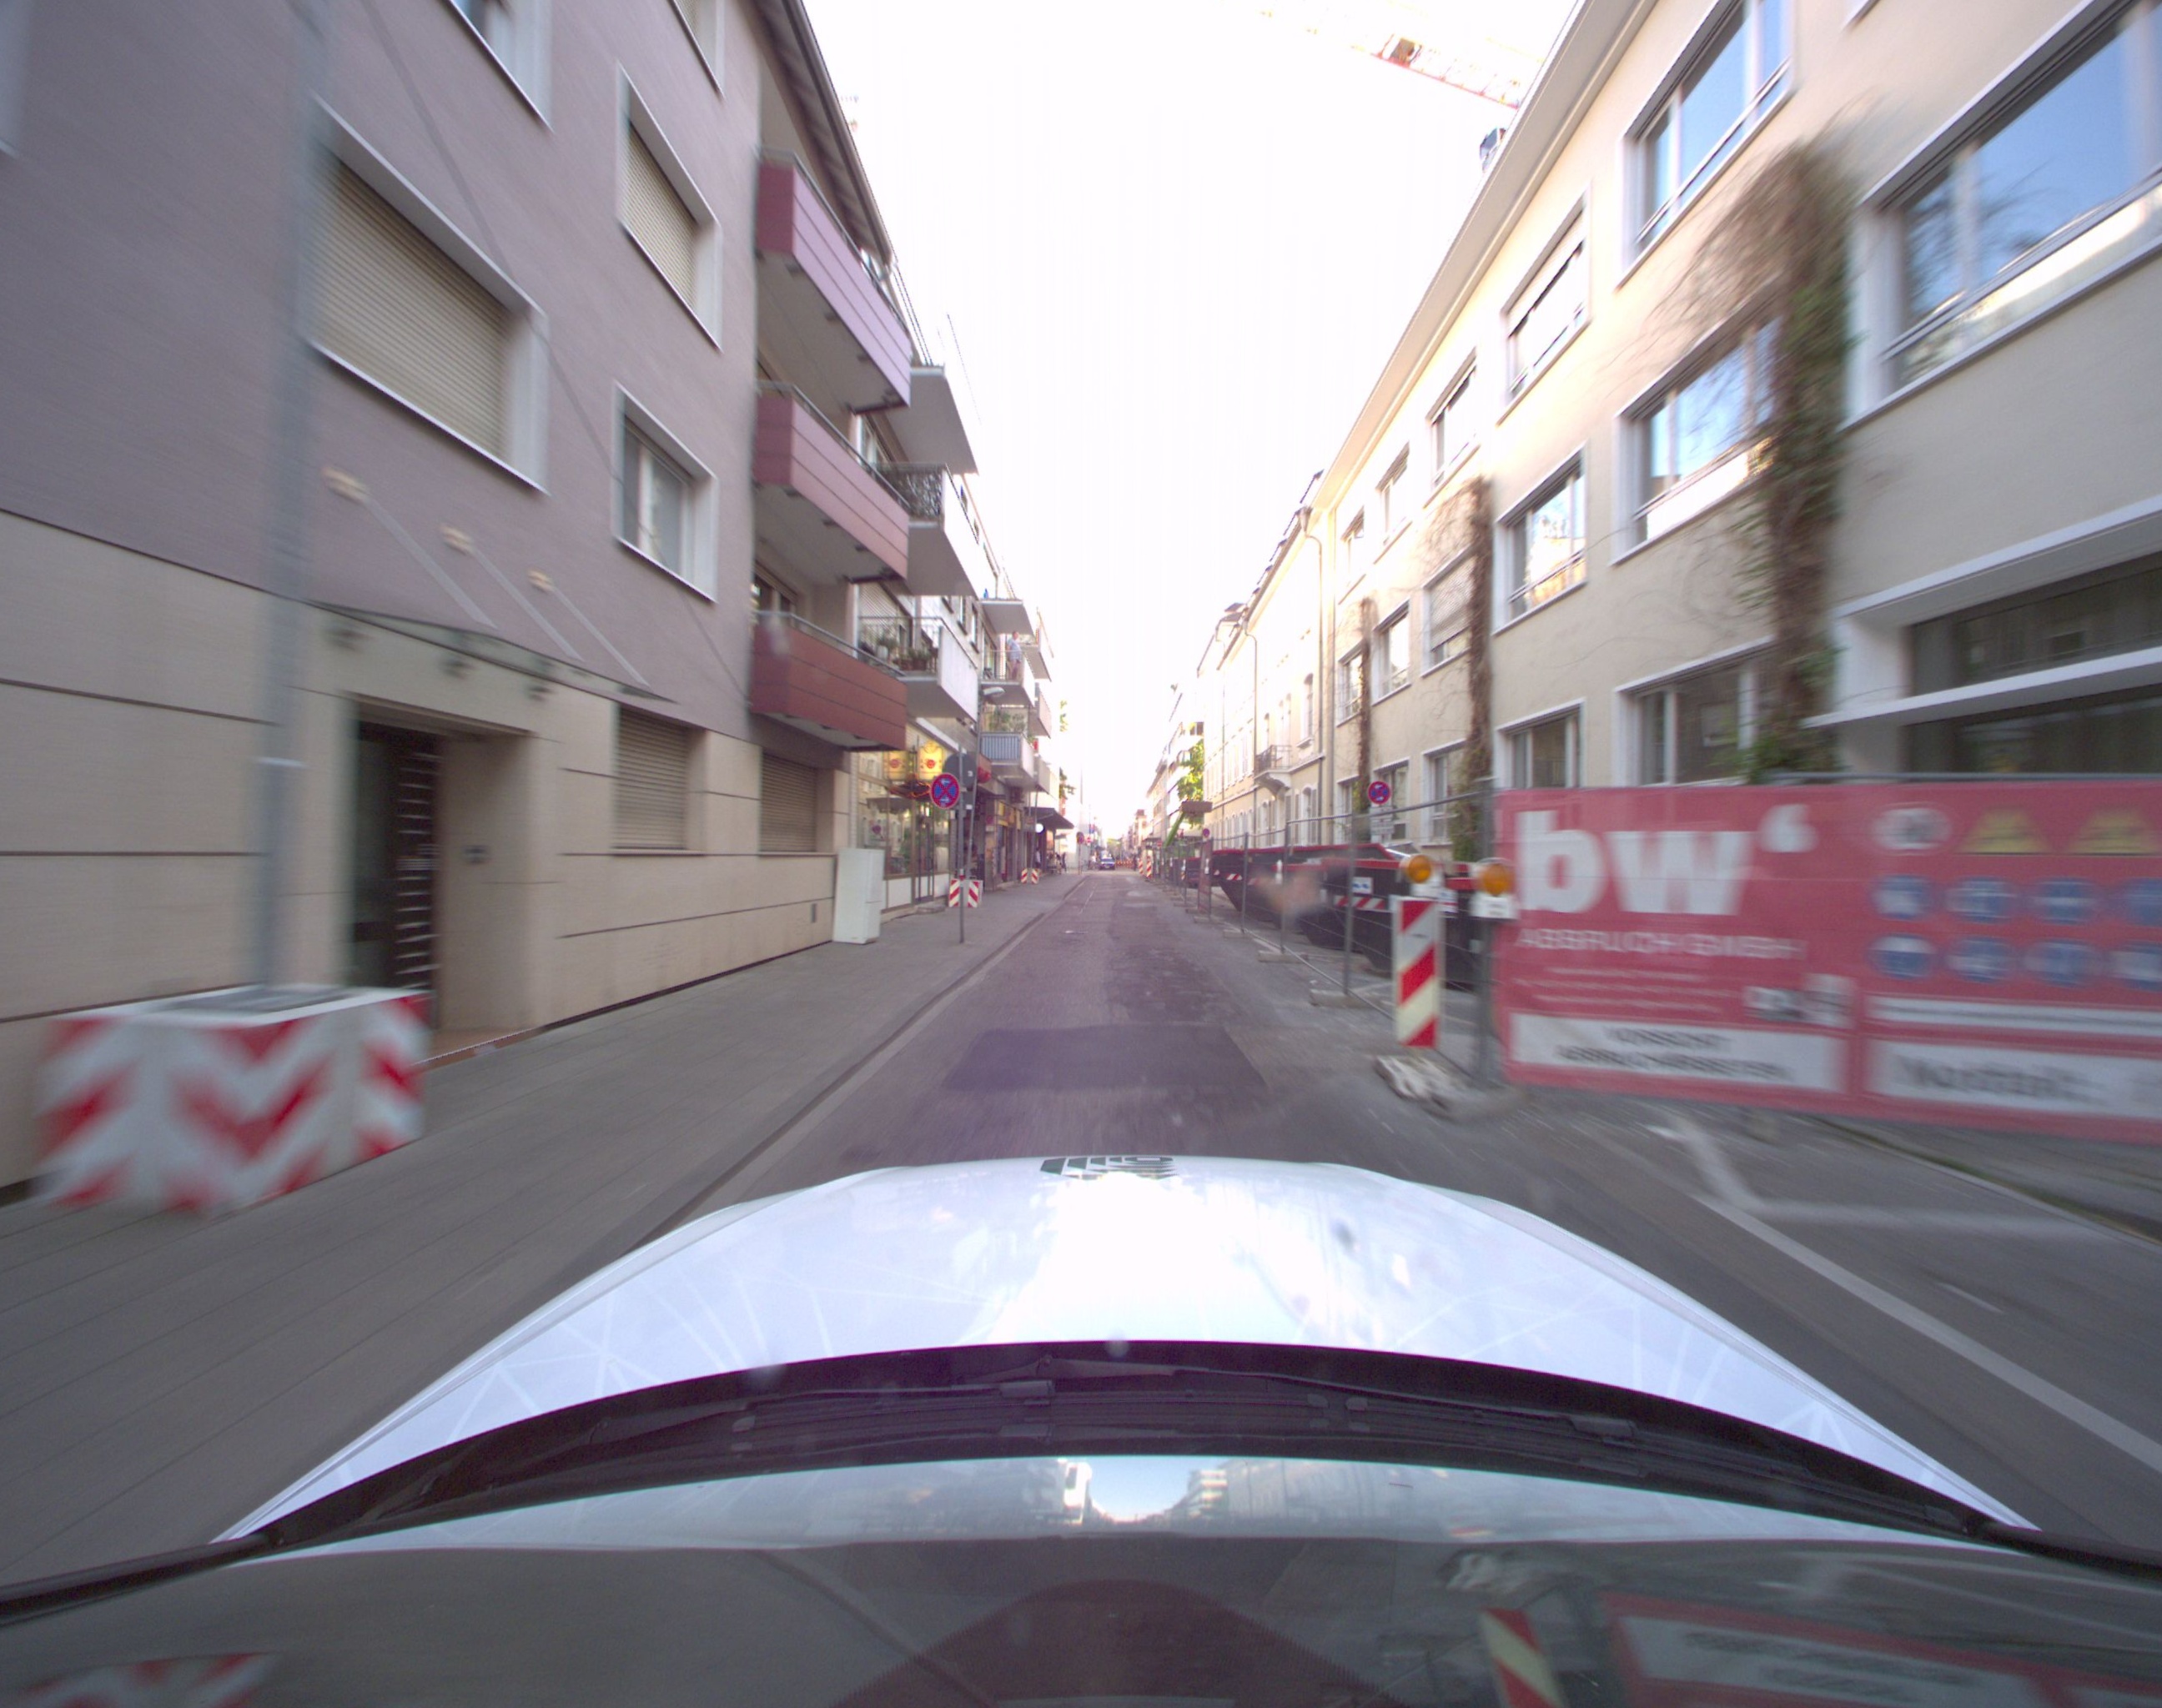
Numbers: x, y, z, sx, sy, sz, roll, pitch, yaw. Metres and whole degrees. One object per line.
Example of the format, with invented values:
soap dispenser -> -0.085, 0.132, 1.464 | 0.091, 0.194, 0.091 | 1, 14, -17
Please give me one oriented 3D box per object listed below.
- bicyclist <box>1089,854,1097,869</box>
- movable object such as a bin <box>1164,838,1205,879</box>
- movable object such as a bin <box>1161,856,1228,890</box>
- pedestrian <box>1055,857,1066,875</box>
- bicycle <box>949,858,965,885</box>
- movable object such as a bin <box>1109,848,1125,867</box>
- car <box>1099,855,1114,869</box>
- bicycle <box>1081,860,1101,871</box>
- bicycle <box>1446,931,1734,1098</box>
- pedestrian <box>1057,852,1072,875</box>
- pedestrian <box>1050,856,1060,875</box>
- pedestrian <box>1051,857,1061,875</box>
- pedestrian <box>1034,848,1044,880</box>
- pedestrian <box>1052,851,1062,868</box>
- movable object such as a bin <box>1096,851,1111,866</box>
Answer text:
bicyclist -> 1.169, 0.729, 78.999 | 0.722, 1.441, 0.506 | 0, 0, 0
movable object such as a bin -> 7.481, 0.298, 59.190 | 2.594, 2.839, 4.452 | 0, 0, 2
movable object such as a bin -> 6.086, 0.958, 44.743 | 2.726, 1.638, 7.554 | 1, 0, 1
pedestrian -> -1.508, 0.839, 59.113 | 0.699, 1.275, 0.714 | 2, 0, 2
bicycle -> -4.631, 0.640, 30.541 | 0.376, 0.961, 1.502 | 1, 1, -1
movable object such as a bin -> 5.232, 0.567, 118.372 | 2.148, 2.664, 4.574 | 1, 0, 2
car -> 2.906, 0.942, 93.120 | 1.624, 1.550, 3.141 | 0, 0, -1
bicycle -> 0.942, 1.077, 78.989 | 1.885, 1.038, 0.409 | 0, 0, -1
bicycle -> 3.783, 1.139, 6.190 | 0.462, 0.908, 1.785 | 1, 1, -44
pedestrian -> -1.342, 0.738, 66.069 | 1.075, 1.835, 0.693 | 0, 0, -19
pedestrian -> -1.838, 0.815, 57.066 | 0.571, 1.275, 0.714 | 2, 0, 2
pedestrian -> -1.762, 0.832, 57.977 | 0.571, 1.275, 0.714 | 3, 0, 2
pedestrian -> -2.412, 0.551, 46.541 | 0.529, 1.834, 0.562 | 0, 0, -4
pedestrian -> -1.839, 0.444, 63.447 | 0.708, 1.275, 0.705 | 1, 0, 2
movable object such as a bin -> 3.024, 0.607, 108.422 | 1.985, 2.013, 4.003 | 0, 0, 3
